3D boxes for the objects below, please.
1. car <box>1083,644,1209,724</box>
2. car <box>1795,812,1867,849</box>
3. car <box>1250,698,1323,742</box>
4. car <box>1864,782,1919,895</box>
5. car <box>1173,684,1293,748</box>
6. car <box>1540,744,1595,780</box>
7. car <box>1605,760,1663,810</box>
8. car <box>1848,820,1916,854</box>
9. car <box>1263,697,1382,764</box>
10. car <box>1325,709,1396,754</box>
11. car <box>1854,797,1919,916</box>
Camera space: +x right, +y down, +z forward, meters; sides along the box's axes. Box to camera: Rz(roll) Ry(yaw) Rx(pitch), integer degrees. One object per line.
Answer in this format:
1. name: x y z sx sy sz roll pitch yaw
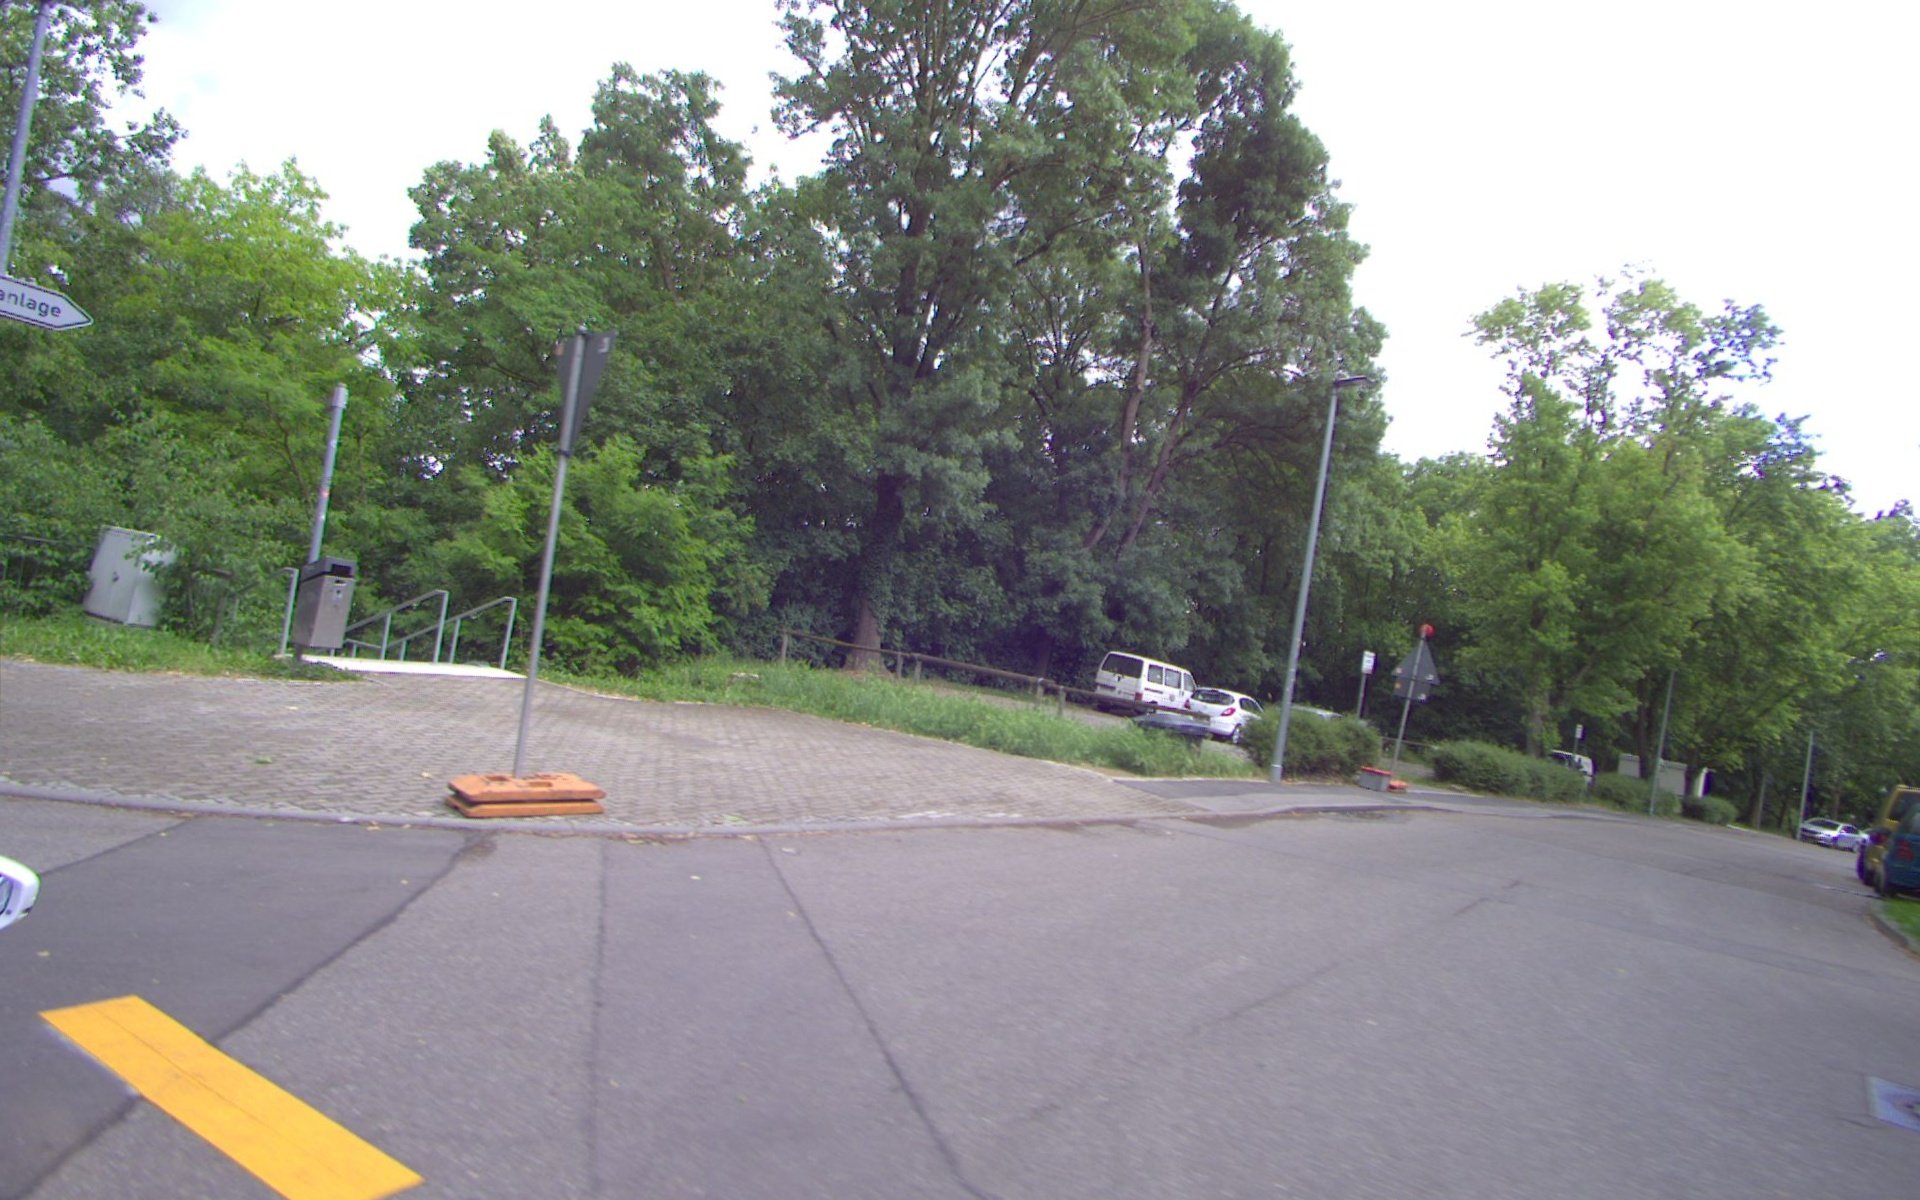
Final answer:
1. car: 5.894 2.675 31.554 1.971 2.036 4.206 5 -3 39
2. car: 46.852 12.395 54.084 3.635 1.503 1.641 9 -3 -27
3. car: 14.662 5.386 45.100 1.806 1.587 3.517 6 -3 39
4. car: 18.753 4.612 19.398 1.808 1.869 4.392 6 -4 43
5. car: 8.113 3.444 29.661 1.774 1.515 4.206 5 -3 39
6. car: 31.419 8.359 51.999 1.774 1.515 4.206 5 -3 39
7. car: 33.544 9.122 49.999 1.971 2.036 3.988 5 -3 38
8. car: 52.013 13.368 56.737 3.635 1.503 1.641 9 -3 -27
9. car: 10.314 3.708 28.463 1.774 1.515 4.206 5 -3 39
10. car: 17.382 5.725 43.601 1.743 1.587 3.517 6 -3 39
11. car: 15.440 4.059 15.721 3.509 1.587 1.810 10 -4 -43
